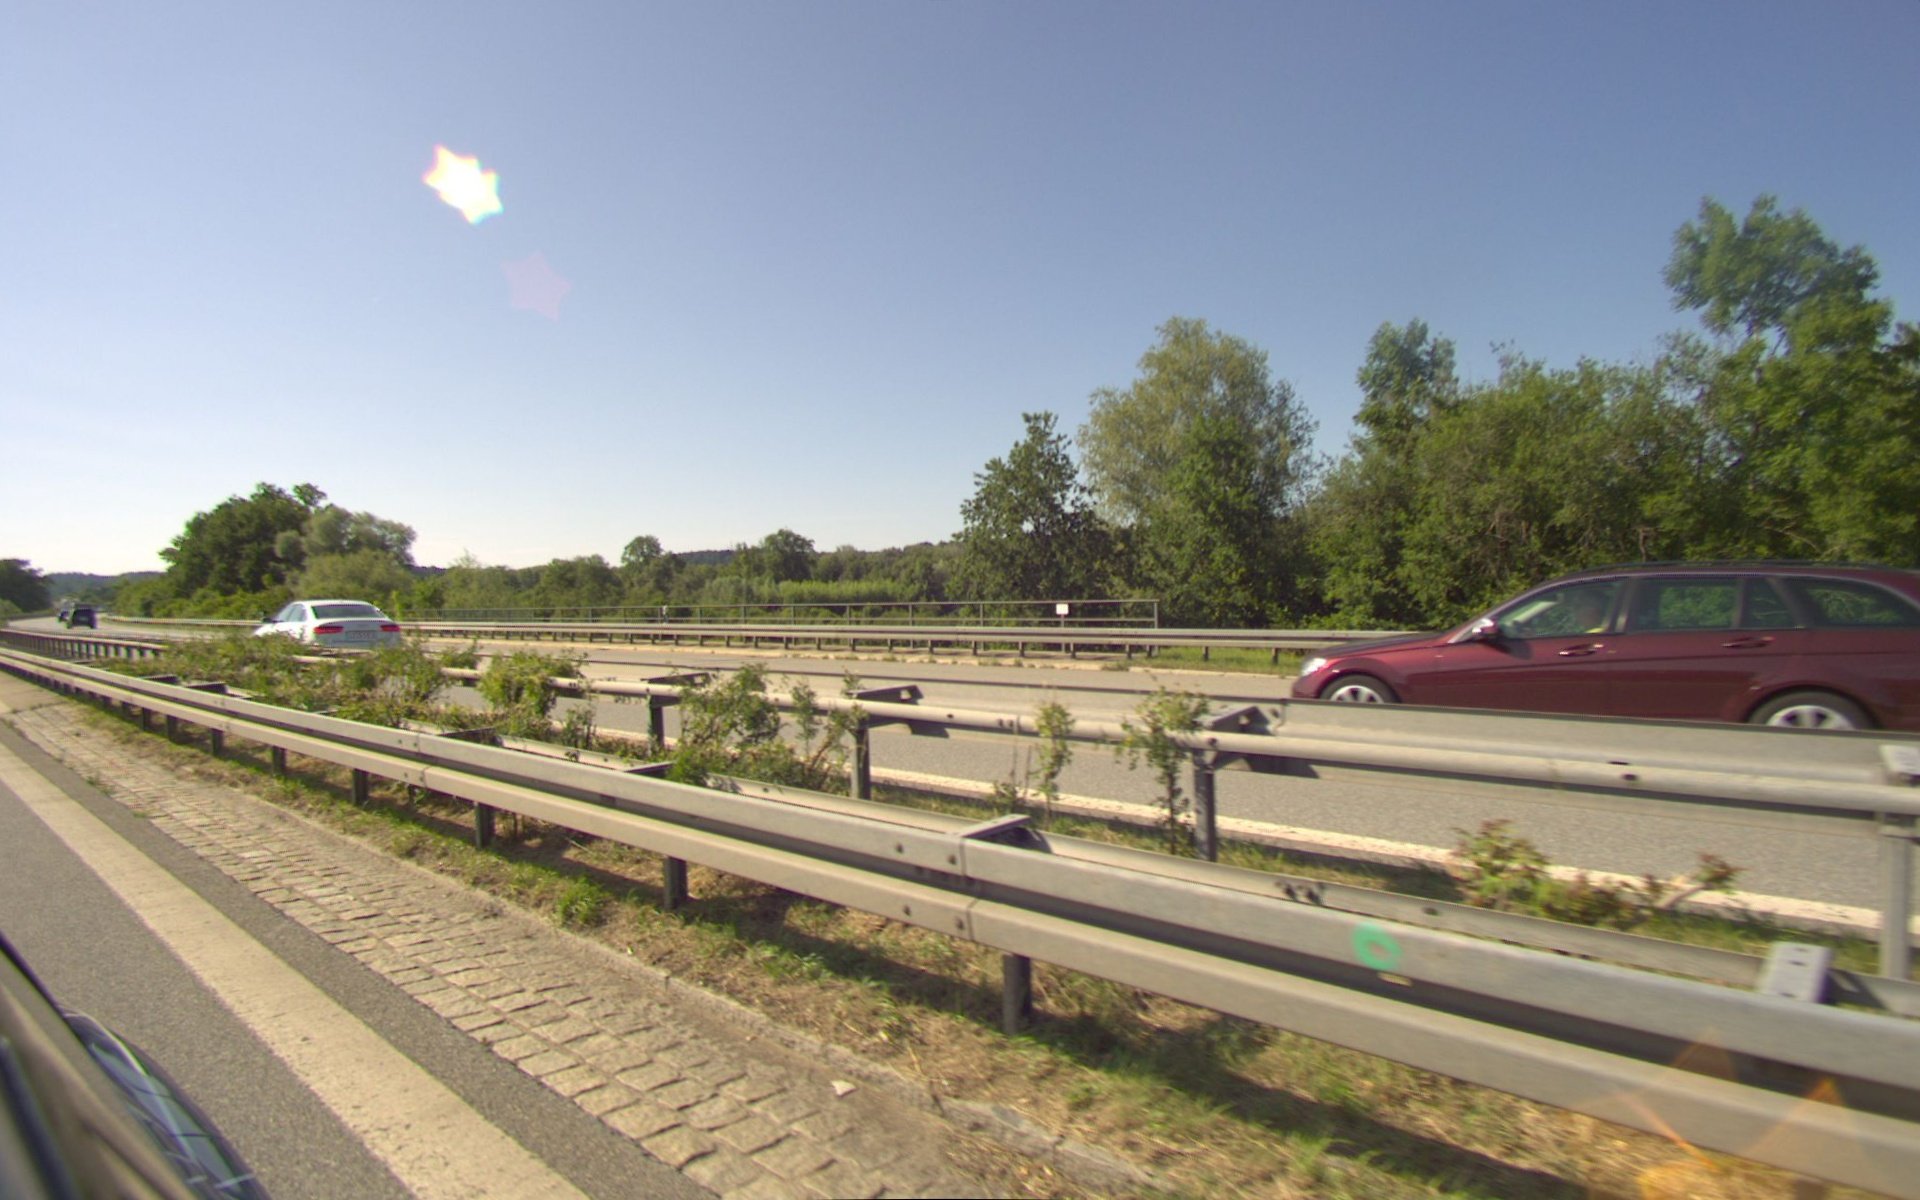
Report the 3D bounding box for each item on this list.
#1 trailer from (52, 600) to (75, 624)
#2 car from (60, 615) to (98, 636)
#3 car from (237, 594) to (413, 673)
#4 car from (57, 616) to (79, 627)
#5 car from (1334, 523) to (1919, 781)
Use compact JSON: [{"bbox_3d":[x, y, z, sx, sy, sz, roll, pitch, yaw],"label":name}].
[{"bbox_3d":[-149.362,1.981,168.567,2.708,3.755,10.925,0,-1,-42],"label":"trailer"},{"bbox_3d":[-75.873,2.175,87.118,5.318,1.692,1.971,-1,-1,44],"label":"car"},{"bbox_3d":[-13.367,0.671,21.196,4.646,1.445,1.802,-1,0,40],"label":"car"},{"bbox_3d":[-120.404,2.887,136.588,1.970,1.566,4.422,1,-1,-44],"label":"car"},{"bbox_3d":[5.234,0.307,7.193,4.503,1.481,1.755,-1,0,40],"label":"car"}]
